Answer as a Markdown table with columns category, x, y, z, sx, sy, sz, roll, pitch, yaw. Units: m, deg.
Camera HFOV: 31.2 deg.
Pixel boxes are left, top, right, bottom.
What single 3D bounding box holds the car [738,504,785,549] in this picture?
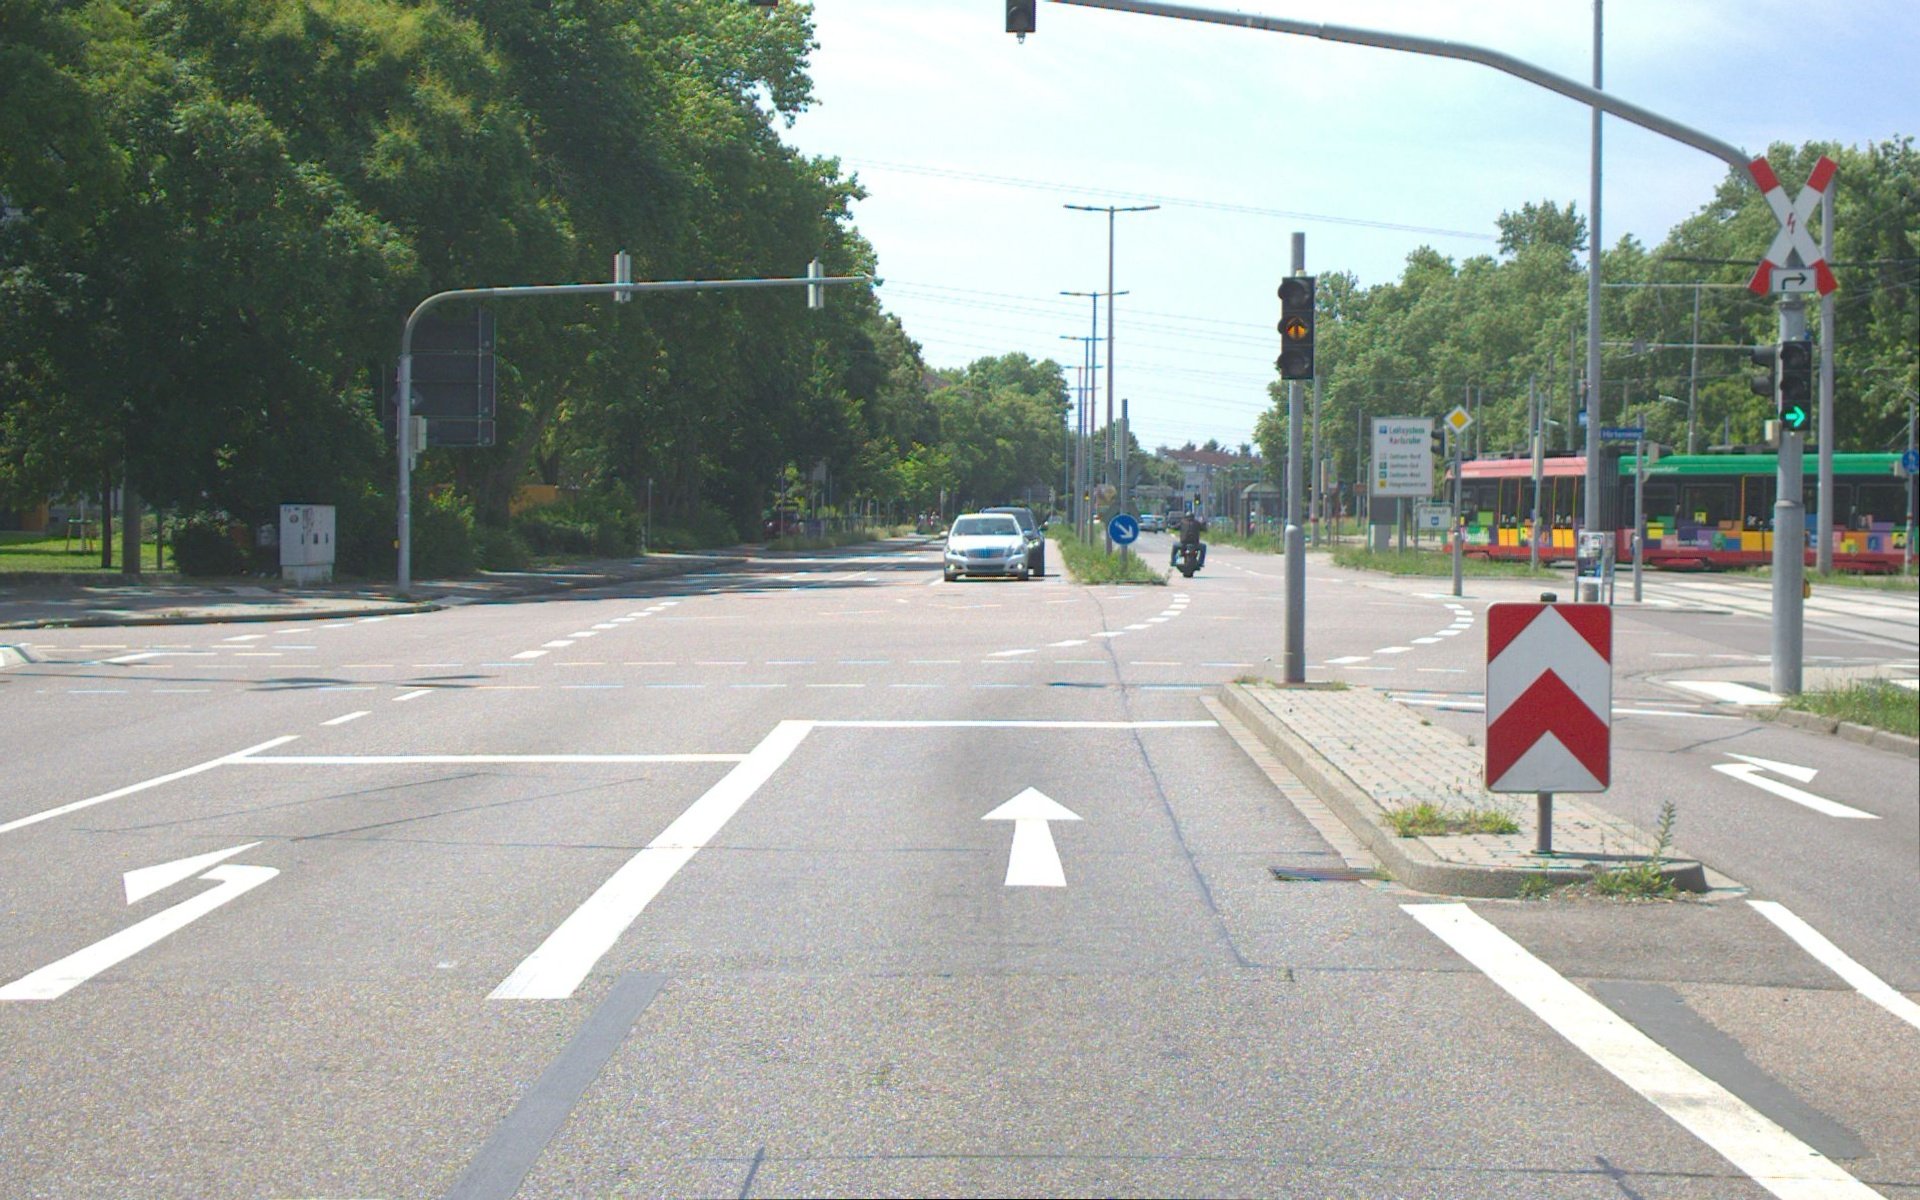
| category | x | y | z | sx | sy | sz | roll | pitch | yaw |
| --- | --- | --- | --- | --- | --- | --- | --- | --- | --- |
| car | -9.572 | -3.544 | 165.936 | 1.993 | 2.007 | 4.000 | 4 | 1 | -1 |

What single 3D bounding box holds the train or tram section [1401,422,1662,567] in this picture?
| category | x | y | z | sx | sy | sz | roll | pitch | yaw |
| --- | --- | --- | --- | --- | --- | --- | --- | --- | --- |
| train or tram section | 17.286 | -3.082 | 105.288 | 2.913 | 3.798 | 13.078 | 2 | -1 | -13 |

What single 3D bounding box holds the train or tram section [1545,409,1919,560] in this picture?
| category | x | y | z | sx | sy | sz | roll | pitch | yaw |
| --- | --- | --- | --- | --- | --- | --- | --- | --- | --- |
| train or tram section | 22.468 | -3.087 | 95.245 | 2.915 | 3.799 | 13.450 | 3 | -2 | -41 |

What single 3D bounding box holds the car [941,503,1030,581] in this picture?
| category | x | y | z | sx | sy | sz | roll | pitch | yaw |
| --- | --- | --- | --- | --- | --- | --- | --- | --- | --- |
| car | 0.578 | -1.282 | 74.738 | 1.784 | 1.623 | 3.865 | 1 | 2 | 2 |

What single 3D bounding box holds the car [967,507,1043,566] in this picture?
| category | x | y | z | sx | sy | sz | roll | pitch | yaw |
| --- | --- | --- | --- | --- | --- | --- | --- | --- | --- |
| car | 1.089 | -1.529 | 82.209 | 1.711 | 1.361 | 3.865 | 1 | 2 | 2 |

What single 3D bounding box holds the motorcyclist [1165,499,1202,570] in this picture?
| category | x | y | z | sx | sy | sz | roll | pitch | yaw |
| --- | --- | --- | --- | --- | --- | --- | --- | --- | --- |
| motorcyclist | 5.210 | -1.529 | 80.041 | 0.790 | 1.637 | 1.211 | 2 | 1 | 4 |

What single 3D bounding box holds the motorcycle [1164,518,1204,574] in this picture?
| category | x | y | z | sx | sy | sz | roll | pitch | yaw |
| --- | --- | --- | --- | --- | --- | --- | --- | --- | --- |
| motorcycle | 5.214 | -1.267 | 80.165 | 0.847 | 1.251 | 2.449 | 2 | 2 | 3 |
